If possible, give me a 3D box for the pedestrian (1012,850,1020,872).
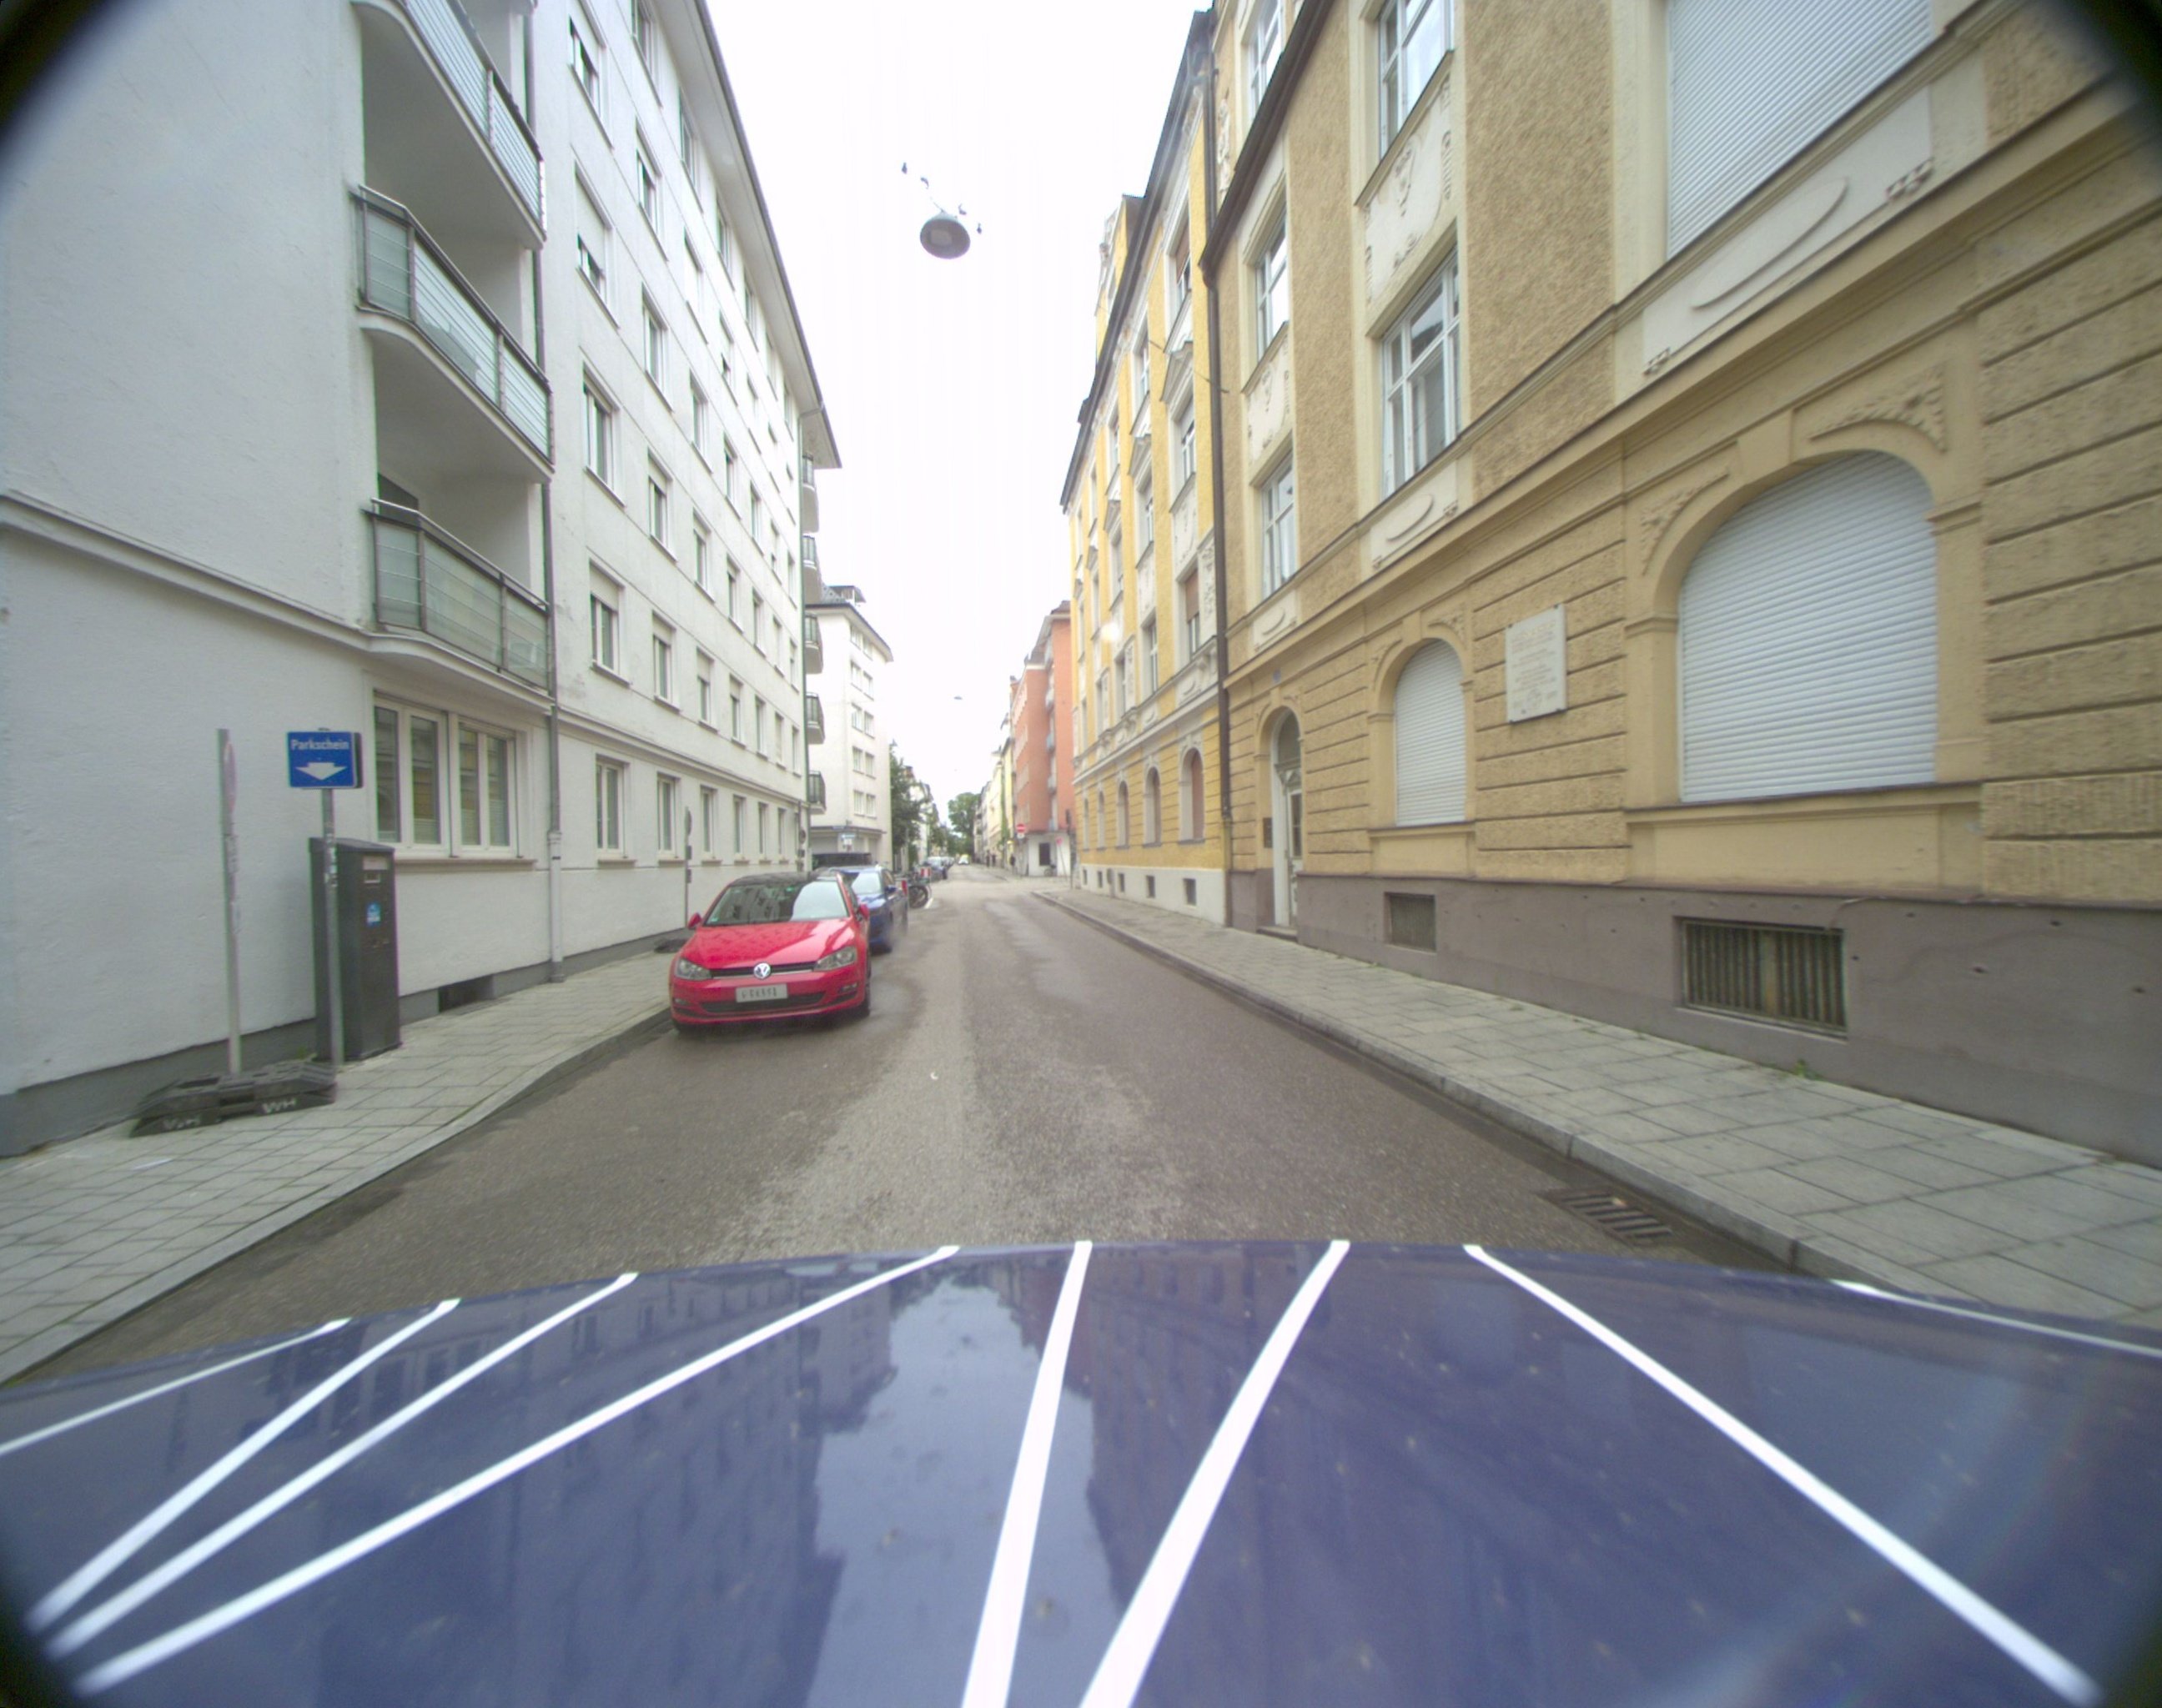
[{"bbox_3d":[-5.069,0.571,59.271,0.613,1.684,0.565,-1,1,-10],"label":"pedestrian"}]

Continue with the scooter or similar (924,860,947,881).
[{"bbox_3d":[-8.943,1.007,46.664,1.341,1.207,0.344,-1,1,-6],"label":"scooter or similar"}]

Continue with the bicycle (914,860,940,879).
[{"bbox_3d":[-9.930,1.002,49.098,1.609,1.207,0.529,-1,1,-6],"label":"bicycle"}]

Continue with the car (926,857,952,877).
[{"bbox_3d":[-10.130,0.901,54.391,1.655,1.390,3.997,-1,0,-9],"label":"car"}]

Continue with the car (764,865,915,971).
[{"bbox_3d":[-4.152,1.002,13.781,1.800,1.430,4.380,-3,1,-8],"label":"car"}]

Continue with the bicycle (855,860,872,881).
[{"bbox_3d":[-13.130,0.994,45.926,0.529,1.207,1.609,-1,0,-1],"label":"bicycle"}]

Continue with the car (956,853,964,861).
[{"bbox_3d":[-31.066,0.879,195.094,2.000,2.002,4.642,-2,0,-10],"label":"car"}]

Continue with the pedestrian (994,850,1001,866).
[{"bbox_3d":[-9.827,0.475,89.594,0.700,1.783,0.763,-1,1,-8],"label":"pedestrian"}]

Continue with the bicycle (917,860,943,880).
[{"bbox_3d":[-9.641,1.002,48.574,1.609,1.207,0.529,-1,1,-6],"label":"bicycle"}]

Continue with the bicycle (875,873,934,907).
[{"bbox_3d":[-5.437,1.110,23.453,1.708,1.037,0.359,1,1,-8],"label":"bicycle"}]

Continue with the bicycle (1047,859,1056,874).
[{"bbox_3d":[-1.961,0.830,50.073,0.392,0.932,1.538,-1,0,-9],"label":"bicycle"}]

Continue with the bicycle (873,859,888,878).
[{"bbox_3d":[-13.190,0.960,49.952,0.529,1.207,1.609,-1,0,-1],"label":"bicycle"}]

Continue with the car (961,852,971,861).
[{"bbox_3d":[-24.200,0.591,160.217,1.931,1.794,4.440,-2,0,-10],"label":"car"}]

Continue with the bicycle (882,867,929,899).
[{"bbox_3d":[-6.634,1.106,28.780,1.701,1.154,0.313,-1,1,-10],"label":"bicycle"}]

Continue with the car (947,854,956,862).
[{"bbox_3d":[-24.918,0.768,146.315,1.655,1.390,3.997,-1,0,-9],"label":"car"}]

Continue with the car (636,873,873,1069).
[{"bbox_3d":[-3.317,1.023,8.564,1.767,1.438,4.293,-3,1,-15],"label":"car"}]

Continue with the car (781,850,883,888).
[{"bbox_3d":[-13.031,0.770,39.972,4.680,1.880,1.933,-1,0,-1],"label":"car"}]

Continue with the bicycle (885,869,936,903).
[{"bbox_3d":[-6.000,1.119,26.790,1.701,1.154,0.378,-1,1,-10],"label":"bicycle"}]

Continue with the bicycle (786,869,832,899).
[{"bbox_3d":[-9.680,1.072,27.065,1.503,1.037,0.398,1,1,-27],"label":"bicycle"}]

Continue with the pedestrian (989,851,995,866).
[{"bbox_3d":[-10.485,0.496,89.399,0.726,1.783,0.829,-1,1,-9],"label":"pedestrian"}]

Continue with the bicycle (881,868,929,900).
[{"bbox_3d":[-6.573,1.126,28.456,1.701,1.154,0.313,-1,1,-10],"label":"bicycle"}]

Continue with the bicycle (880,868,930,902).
[{"bbox_3d":[-6.408,1.124,27.708,1.701,1.154,0.378,-1,1,-10],"label":"bicycle"}]

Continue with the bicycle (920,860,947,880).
[{"bbox_3d":[-9.321,1.002,48.047,1.609,1.207,0.529,-1,1,-6],"label":"bicycle"}]

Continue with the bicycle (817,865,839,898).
[{"bbox_3d":[-9.653,1.032,28.941,0.400,1.197,1.502,0,1,-34],"label":"bicycle"}]

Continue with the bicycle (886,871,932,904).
[{"bbox_3d":[-5.687,1.107,25.149,1.442,1.037,0.360,1,1,-1],"label":"bicycle"}]

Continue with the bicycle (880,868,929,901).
[{"bbox_3d":[-6.508,1.122,28.094,1.701,1.154,0.378,-1,1,-10],"label":"bicycle"}]

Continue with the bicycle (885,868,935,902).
[{"bbox_3d":[-6.101,1.117,27.177,1.701,1.154,0.378,-1,1,-10],"label":"bicycle"}]

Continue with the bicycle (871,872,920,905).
[{"bbox_3d":[-6.039,1.106,24.752,1.521,1.037,0.360,1,1,-1],"label":"bicycle"}]

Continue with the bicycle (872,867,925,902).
[{"bbox_3d":[-6.201,1.026,25.859,1.701,1.154,0.378,-1,1,-10],"label":"bicycle"}]

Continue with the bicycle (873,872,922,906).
[{"bbox_3d":[-5.755,1.110,23.874,1.439,1.037,0.330,1,1,-1],"label":"bicycle"}]
